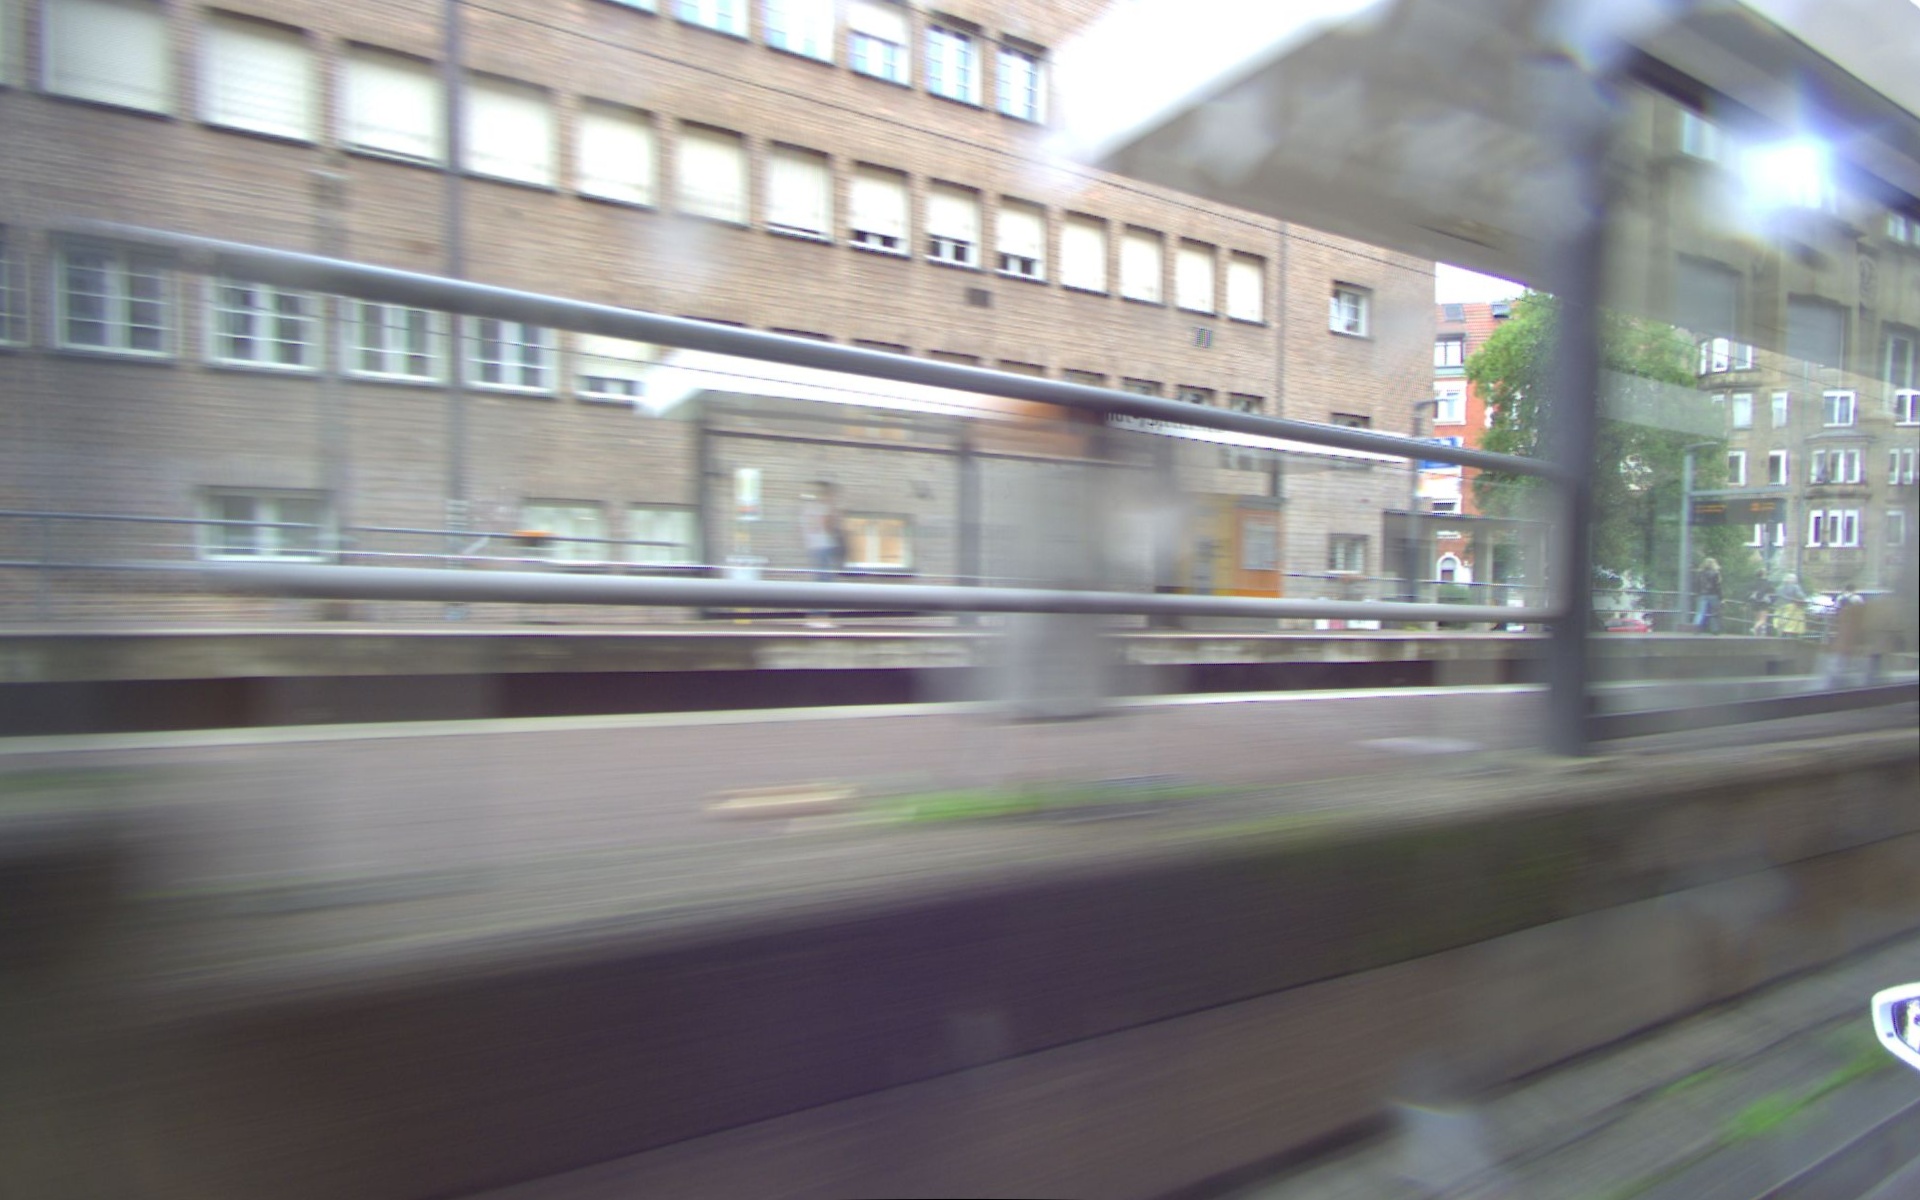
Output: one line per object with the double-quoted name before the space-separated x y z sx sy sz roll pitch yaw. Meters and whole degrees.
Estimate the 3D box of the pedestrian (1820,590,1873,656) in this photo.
"pedestrian" 22.435 0.585 25.425 0.945 1.604 0.689 3 0 -30

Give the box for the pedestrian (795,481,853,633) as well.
"pedestrian" -1.608 -0.489 11.844 0.486 1.732 0.584 1 -1 -30

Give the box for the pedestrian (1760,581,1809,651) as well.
"pedestrian" 20.216 0.403 24.645 0.633 1.668 0.740 3 -4 -30

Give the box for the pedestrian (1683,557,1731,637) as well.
"pedestrian" 16.460 -0.052 22.130 0.681 1.721 0.660 1 0 -33

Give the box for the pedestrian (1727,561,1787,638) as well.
"pedestrian" 18.758 -0.011 23.637 0.872 1.718 0.740 4 1 -30

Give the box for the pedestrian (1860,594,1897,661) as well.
"pedestrian" 25.696 0.766 28.113 0.790 1.842 0.508 1 1 -30
